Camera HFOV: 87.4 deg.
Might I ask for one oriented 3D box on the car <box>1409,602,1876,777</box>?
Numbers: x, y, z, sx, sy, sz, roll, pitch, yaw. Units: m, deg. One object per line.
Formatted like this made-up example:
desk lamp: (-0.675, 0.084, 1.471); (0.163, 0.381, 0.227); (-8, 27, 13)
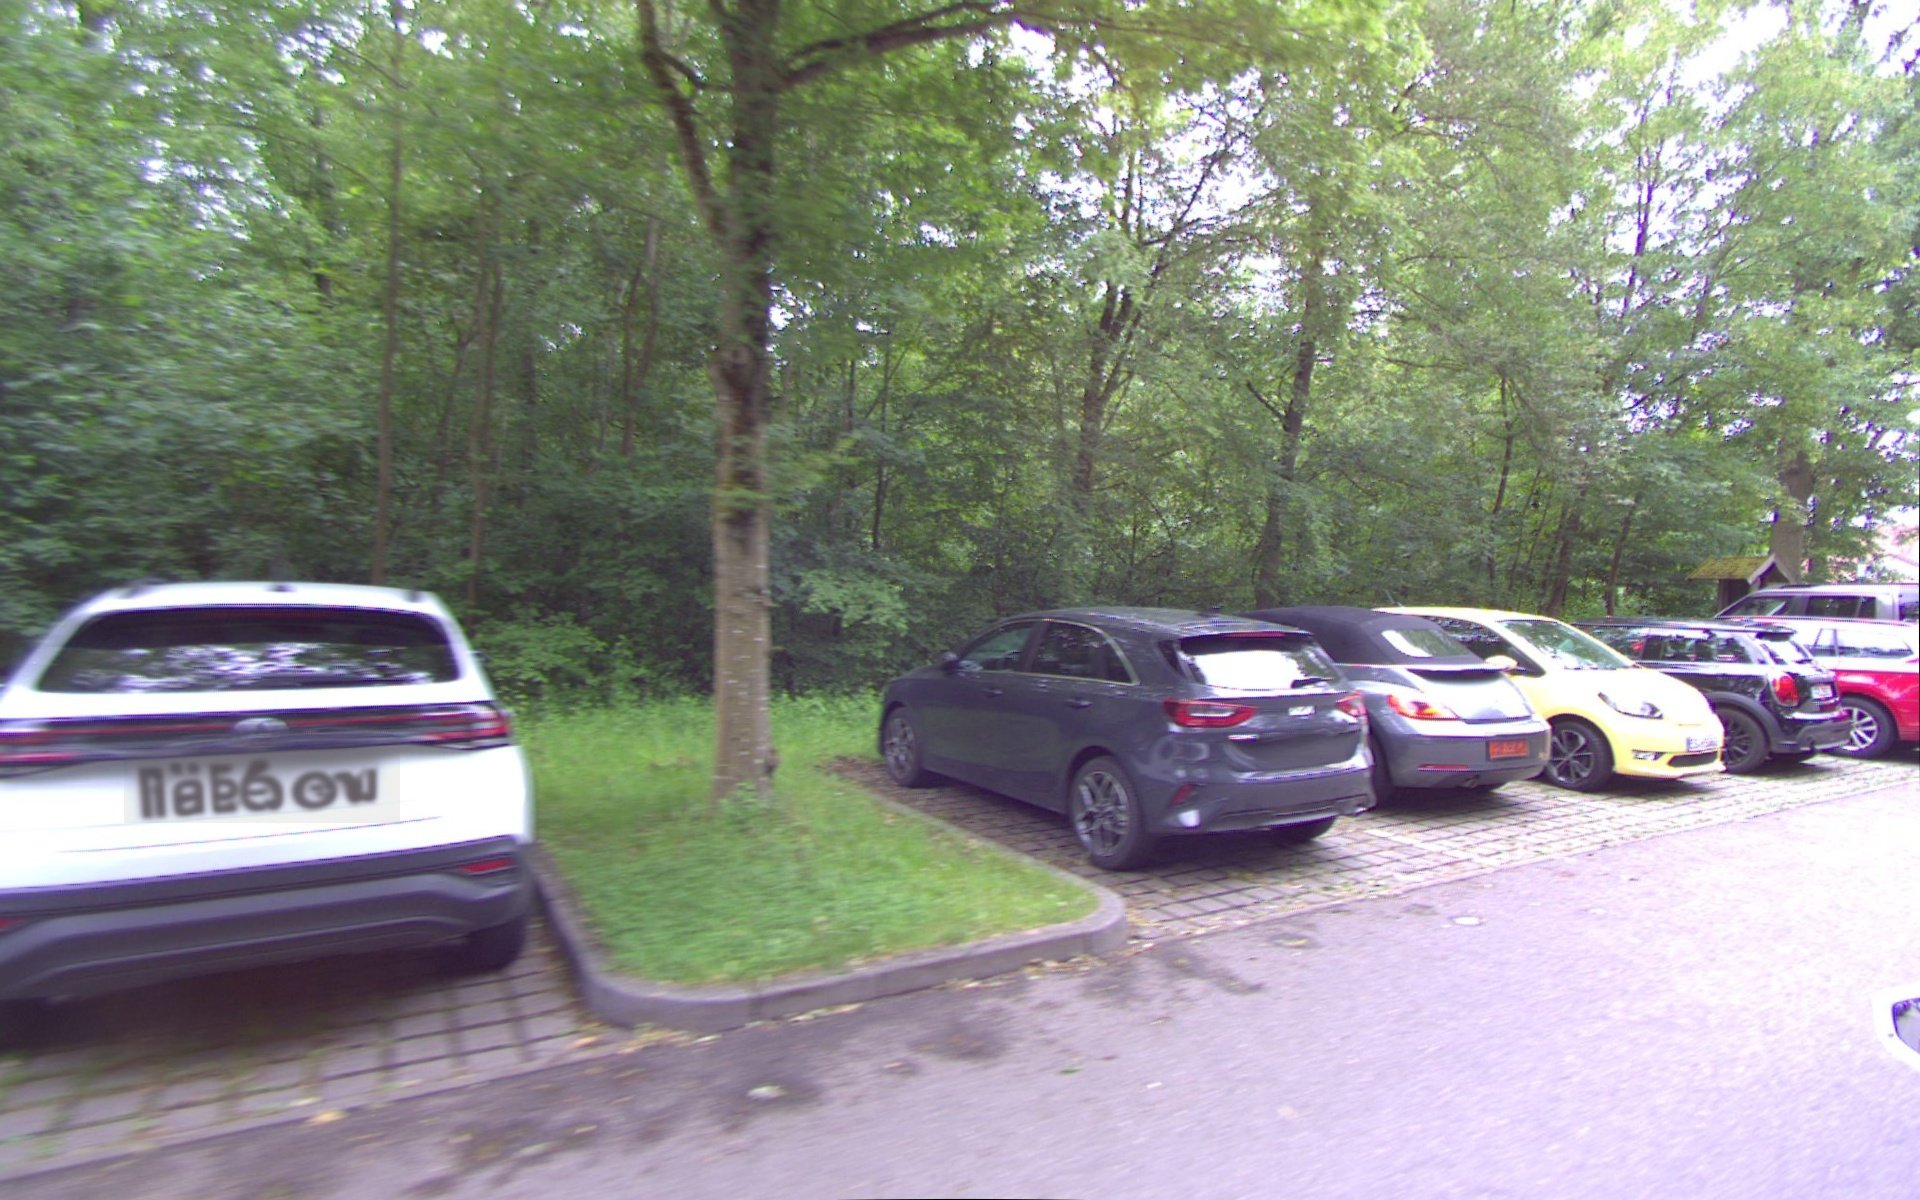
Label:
car: (7.337, 0.829, 11.223); (1.653, 1.457, 3.964); (1, 1, -32)

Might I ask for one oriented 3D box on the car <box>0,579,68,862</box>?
car: (-5.286, 0.643, 3.989); (1.681, 1.455, 3.970); (1, 1, -28)

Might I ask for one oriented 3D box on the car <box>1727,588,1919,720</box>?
car: (13.905, 0.775, 14.610); (1.803, 1.789, 3.966); (1, 1, -31)

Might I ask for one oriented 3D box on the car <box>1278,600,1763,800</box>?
car: (5.288, 0.806, 10.054); (1.598, 1.457, 3.968); (1, 1, -30)

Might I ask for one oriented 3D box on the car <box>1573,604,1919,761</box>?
car: (9.881, 0.879, 12.010); (1.760, 1.496, 3.965); (1, 1, -32)

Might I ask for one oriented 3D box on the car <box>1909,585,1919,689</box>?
car: (20.399, 0.778, 18.068); (1.869, 2.004, 4.479); (2, 0, -31)

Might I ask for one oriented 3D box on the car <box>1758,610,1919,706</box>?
car: (15.938, 0.967, 16.567); (1.700, 1.449, 3.969); (1, 1, -29)

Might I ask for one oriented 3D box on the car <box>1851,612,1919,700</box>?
car: (18.256, 1.018, 17.441); (1.786, 1.533, 3.800); (0, 0, -27)

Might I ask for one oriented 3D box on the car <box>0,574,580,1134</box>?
car: (-3.022, 0.647, 4.712); (1.695, 1.487, 3.967); (1, 1, -30)

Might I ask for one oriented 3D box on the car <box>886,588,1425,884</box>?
car: (1.079, 0.700, 7.361); (1.694, 1.457, 3.968); (1, 1, -30)

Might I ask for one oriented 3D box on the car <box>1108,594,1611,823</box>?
car: (3.252, 0.743, 8.996); (1.713, 1.457, 3.968); (1, 1, -30)

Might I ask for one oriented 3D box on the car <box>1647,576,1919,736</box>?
car: (11.824, 0.668, 13.400); (1.792, 1.887, 3.967); (1, 1, -30)
